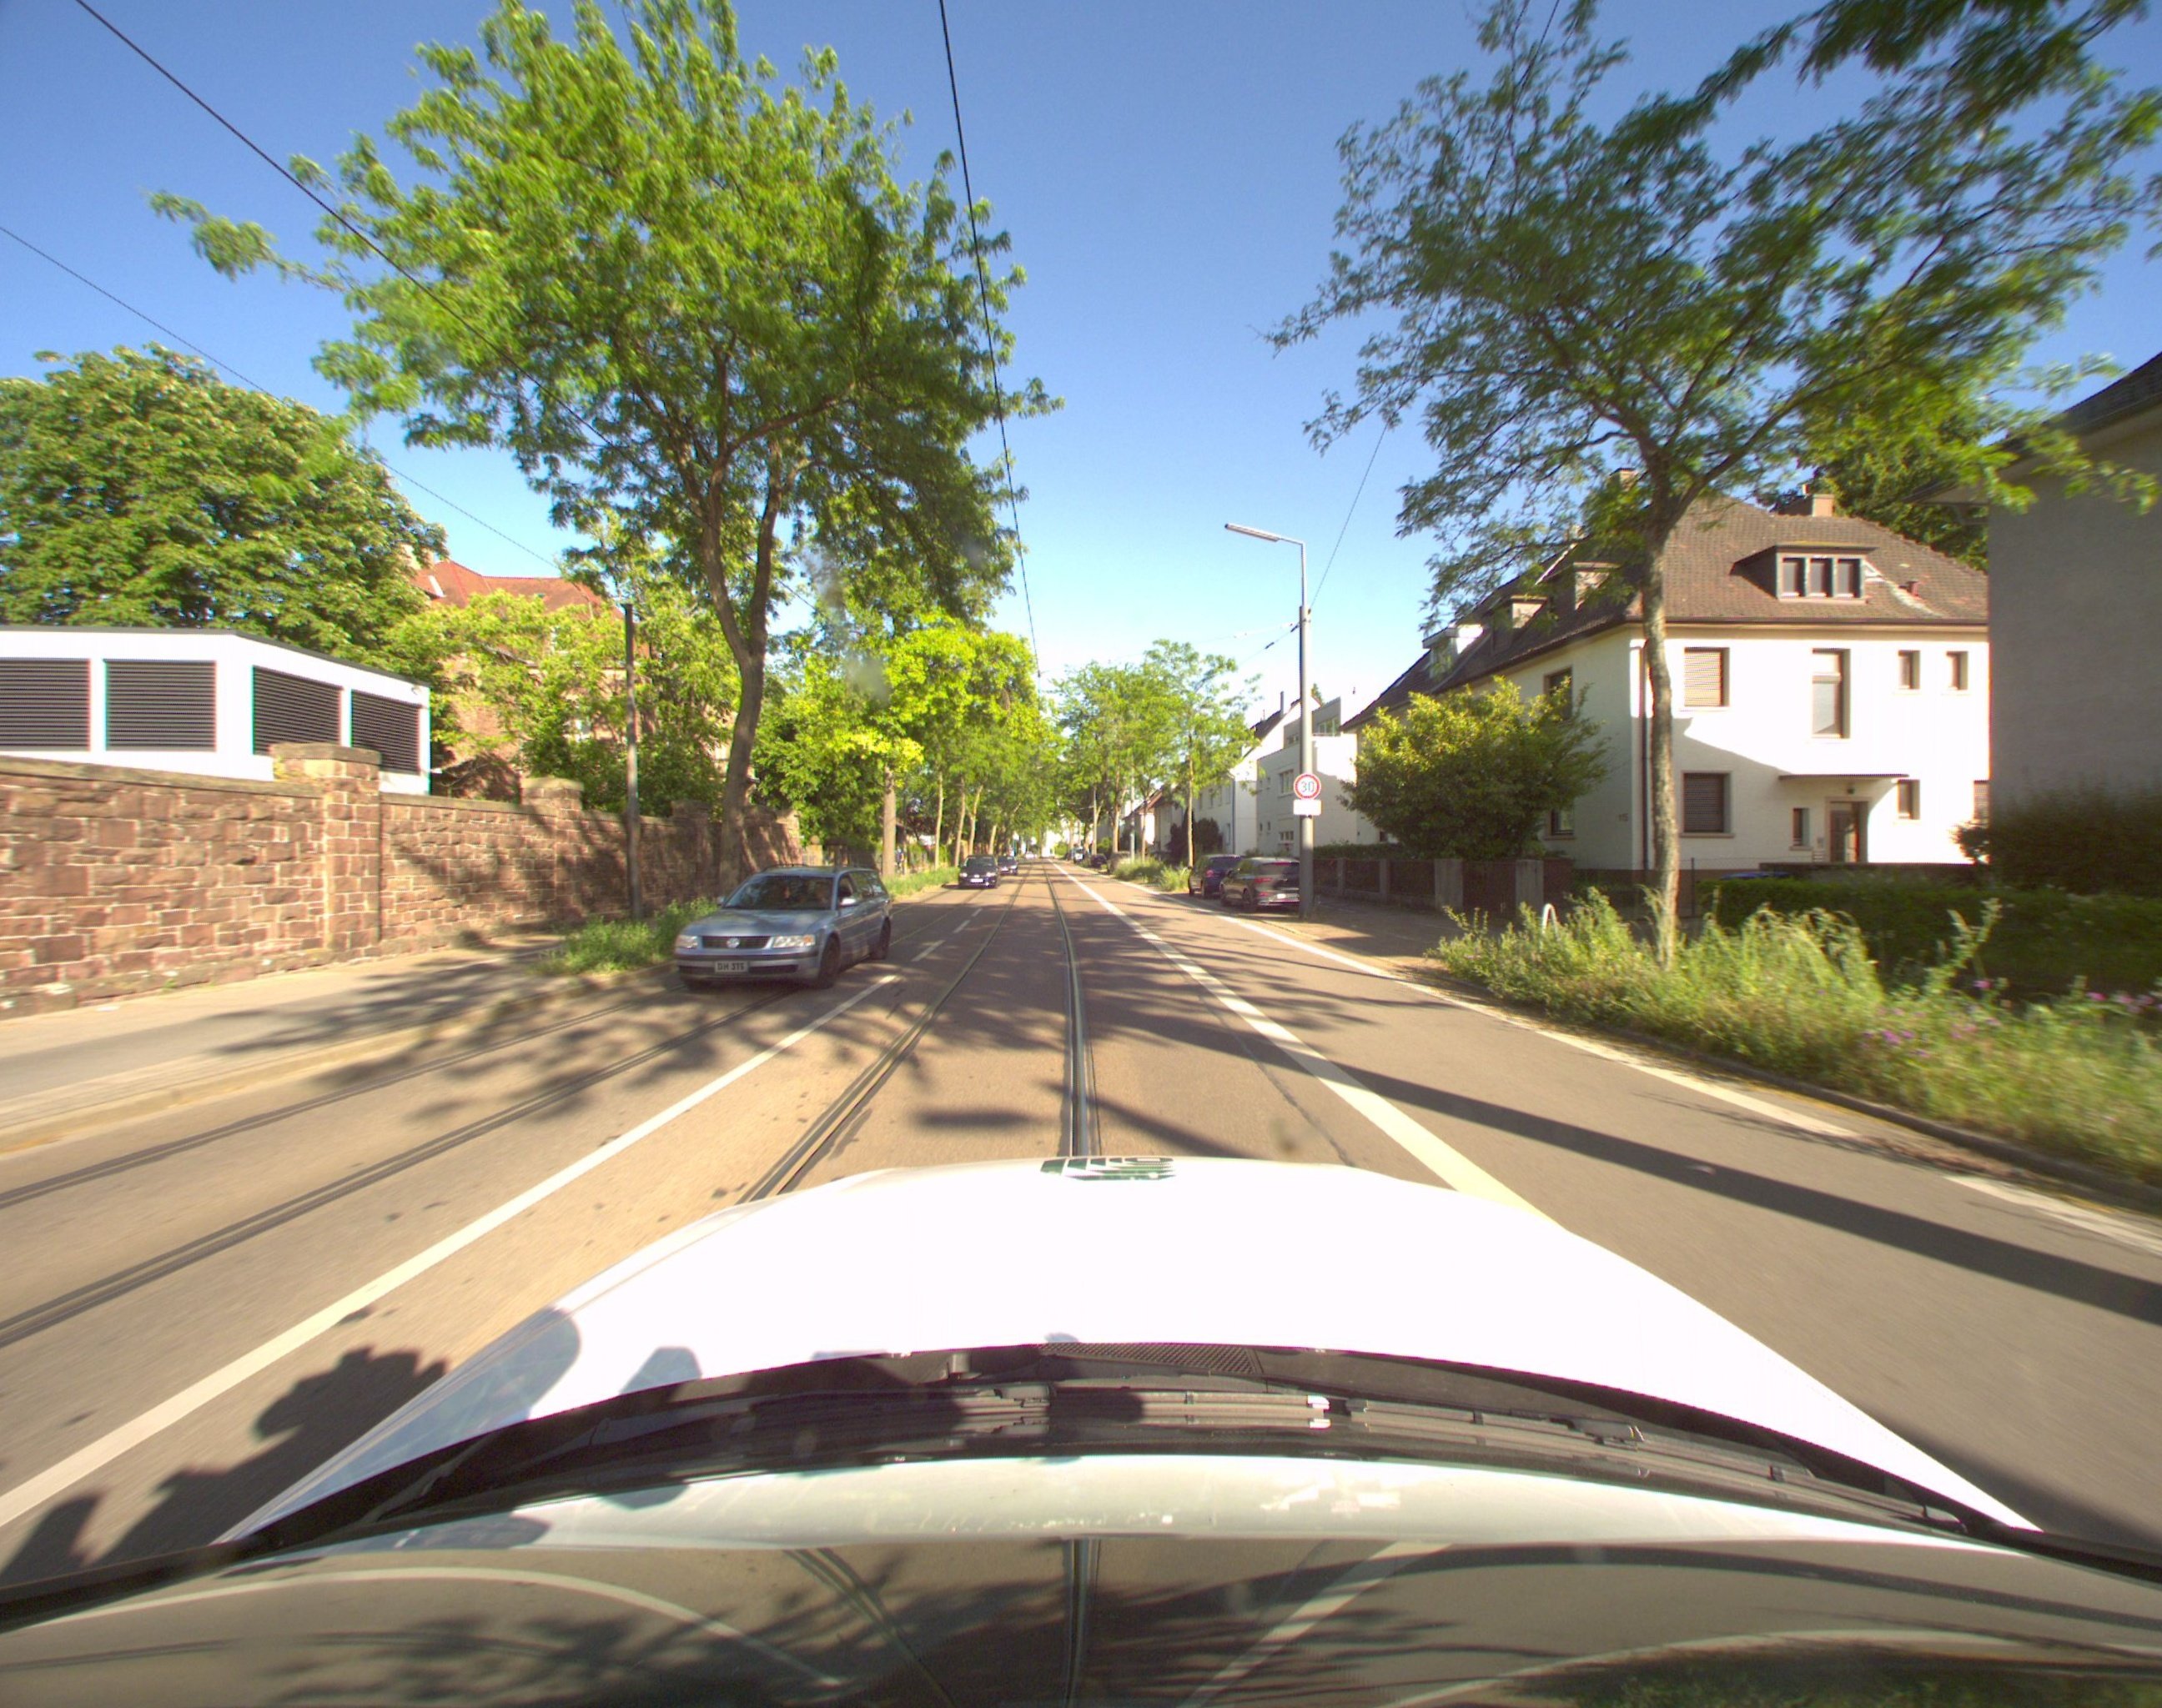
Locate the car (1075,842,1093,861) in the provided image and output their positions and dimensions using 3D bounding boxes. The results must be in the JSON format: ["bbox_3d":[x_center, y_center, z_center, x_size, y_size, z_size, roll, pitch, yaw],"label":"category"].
[{"bbox_3d":[0.354,-0.316,118.277,2.240,2.654,5.579,-2,0,-3],"label":"car"}]

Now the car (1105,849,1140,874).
[{"bbox_3d":[3.037,0.533,60.718,1.990,1.704,4.471,-3,0,-4],"label":"car"}]

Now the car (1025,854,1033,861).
[{"bbox_3d":[-12.413,0.823,194.167,1.864,1.675,4.163,-1,0,-7],"label":"car"}]

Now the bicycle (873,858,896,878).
[{"bbox_3d":[-10.068,0.713,41.818,0.709,0.960,2.093,-1,0,-2],"label":"bicycle"}]

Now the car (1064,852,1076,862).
[{"bbox_3d":[-2.054,0.557,150.138,1.998,1.675,4.387,-2,0,-3],"label":"car"}]

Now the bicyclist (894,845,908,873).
[{"bbox_3d":[-9.930,0.283,44.946,0.592,1.527,1.060,-1,0,-2],"label":"bicyclist"}]

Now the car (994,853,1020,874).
[{"bbox_3d":[-5.321,0.667,58.871,1.744,1.524,4.065,0,0,-3],"label":"car"}]

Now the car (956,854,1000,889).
[{"bbox_3d":[-4.716,0.778,37.665,1.744,1.524,4.031,0,0,-3],"label":"car"}]

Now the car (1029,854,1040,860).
[{"bbox_3d":[-12.687,0.707,220.875,2.007,1.560,4.369,-1,0,-15],"label":"car"}]

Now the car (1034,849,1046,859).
[{"bbox_3d":[-10.251,0.057,203.265,1.998,2.458,4.484,-1,0,-16],"label":"car"}]

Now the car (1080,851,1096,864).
[{"bbox_3d":[0.767,0.424,96.783,1.623,1.397,3.641,-3,1,-3],"label":"car"}]

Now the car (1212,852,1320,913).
[{"bbox_3d":[4.973,0.702,22.486,1.744,1.495,4.438,-1,0,-3],"label":"car"}]

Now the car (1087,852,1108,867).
[{"bbox_3d":[1.774,0.577,87.213,1.781,1.448,4.294,-3,1,-5],"label":"car"}]

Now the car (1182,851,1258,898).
[{"bbox_3d":[4.755,0.668,28.392,1.744,1.495,3.992,-1,0,-3],"label":"car"}]

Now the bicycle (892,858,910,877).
[{"bbox_3d":[-9.928,0.737,44.905,0.588,0.960,2.130,-1,0,-2],"label":"bicycle"}]

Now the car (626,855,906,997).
[{"bbox_3d":[-3.897,0.781,11.091,1.987,1.524,4.579,0,0,0],"label":"car"}]

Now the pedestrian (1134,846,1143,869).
[{"bbox_3d":[4.830,0.269,68.507,0.624,1.870,0.731,-3,0,-4],"label":"pedestrian"}]

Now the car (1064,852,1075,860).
[{"bbox_3d":[-2.349,0.371,167.751,1.996,1.675,4.393,-2,0,1],"label":"car"}]
